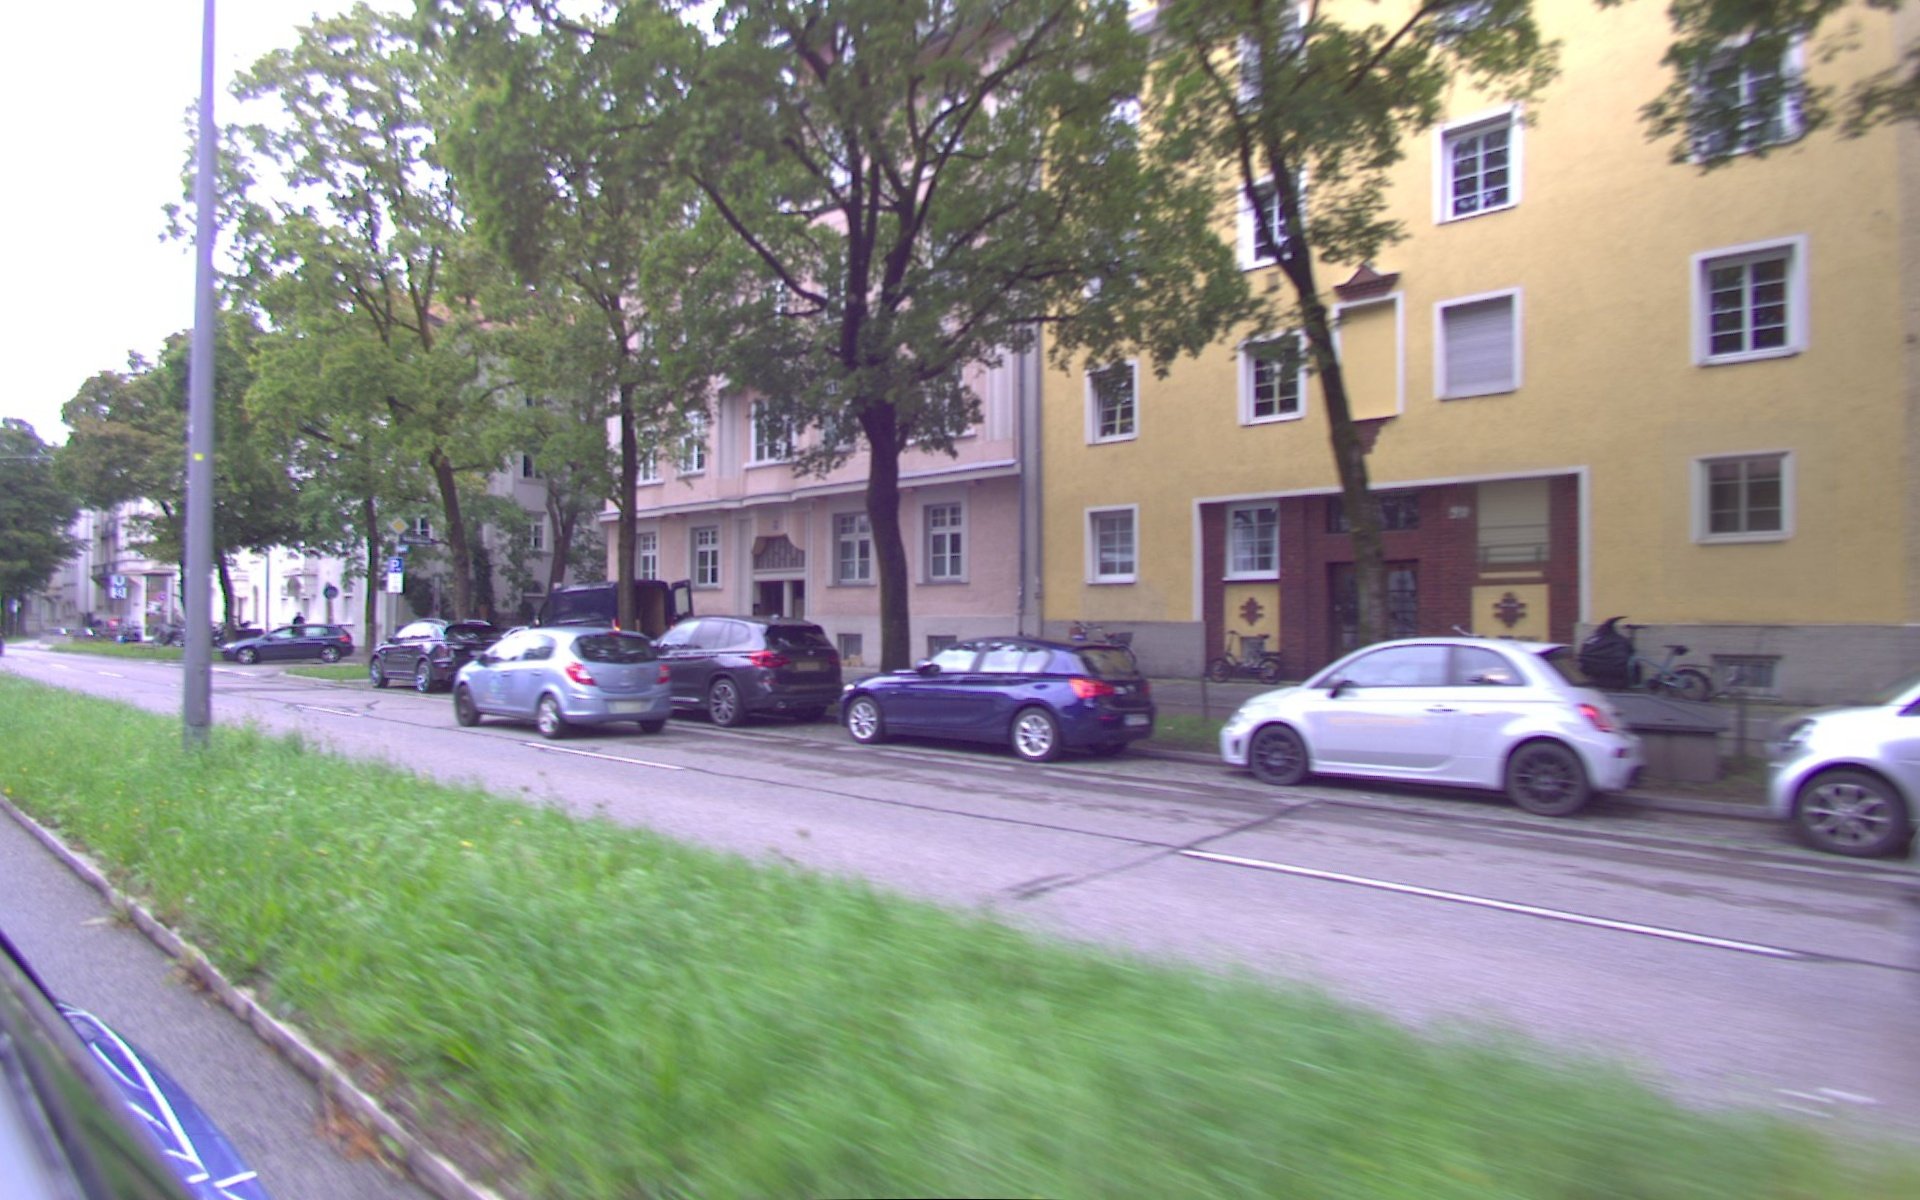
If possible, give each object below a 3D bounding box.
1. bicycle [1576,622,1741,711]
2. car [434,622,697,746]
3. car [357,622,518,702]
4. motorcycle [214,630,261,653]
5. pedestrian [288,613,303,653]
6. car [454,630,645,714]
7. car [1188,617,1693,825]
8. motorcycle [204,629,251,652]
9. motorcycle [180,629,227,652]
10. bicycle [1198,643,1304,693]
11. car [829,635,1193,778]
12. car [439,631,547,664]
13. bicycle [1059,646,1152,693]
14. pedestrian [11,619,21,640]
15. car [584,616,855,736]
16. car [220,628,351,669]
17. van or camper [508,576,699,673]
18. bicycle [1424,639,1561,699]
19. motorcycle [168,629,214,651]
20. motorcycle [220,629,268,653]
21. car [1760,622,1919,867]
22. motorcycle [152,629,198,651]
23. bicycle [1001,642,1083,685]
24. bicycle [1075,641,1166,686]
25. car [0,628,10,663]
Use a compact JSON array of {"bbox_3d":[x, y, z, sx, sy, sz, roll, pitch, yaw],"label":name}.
[{"bbox_3d":[10.313,0.943,14.988,1.929,1.231,0.762,-1,-2,41],"label":"bicycle"},{"bbox_3d":[-5.726,1.114,14.488,4.055,1.518,1.792,-1,-4,41],"label":"car"},{"bbox_3d":[-12.314,1.371,23.752,4.436,1.699,1.854,-1,-2,41],"label":"car"},{"bbox_3d":[-37.386,2.122,52.374,1.926,1.158,0.597,0,-1,-12],"label":"motorcycle"},{"bbox_3d":[-34.154,1.698,52.047,0.590,2.075,0.686,1,-2,-30],"label":"pedestrian"},{"bbox_3d":[-8.239,1.344,20.114,4.490,1.465,1.675,-1,-2,41],"label":"car"},{"bbox_3d":[4.414,0.964,9.665,4.055,1.573,1.709,-1,-2,41],"label":"car"},{"bbox_3d":[-38.651,2.138,53.399,1.926,1.158,0.597,0,-1,-12],"label":"motorcycle"},{"bbox_3d":[-40.466,2.158,54.129,1.926,1.158,0.597,0,-1,-12],"label":"motorcycle"},{"bbox_3d":[5.666,1.307,19.778,1.929,0.906,0.536,-1,-2,41],"label":"bicycle"},{"bbox_3d":[0.486,1.165,12.458,4.360,1.416,1.709,-1,-2,41],"label":"car"},{"bbox_3d":[-20.487,2.055,44.469,1.793,1.332,3.948,-1,-2,39],"label":"car"},{"bbox_3d":[3.008,1.431,21.044,1.929,0.906,0.536,-1,-2,41],"label":"bicycle"},{"bbox_3d":[-93.157,2.866,99.876,0.631,2.058,0.739,1,-2,-38],"label":"pedestrian"},{"bbox_3d":[-4.001,1.110,16.370,4.767,1.658,1.859,-1,-2,41],"label":"car"},{"bbox_3d":[-25.038,1.793,37.729,3.931,1.386,1.867,0,-2,-30],"label":"car"},{"bbox_3d":[-10.780,0.738,30.208,6.847,2.599,2.321,-1,-2,41],"label":"van or camper"},{"bbox_3d":[8.775,1.118,16.726,1.929,0.906,0.536,-1,-2,41],"label":"bicycle"},{"bbox_3d":[-41.719,2.168,54.918,1.926,1.158,0.597,0,-1,-12],"label":"motorcycle"},{"bbox_3d":[-36.331,2.079,51.383,1.926,1.158,0.597,0,-1,-12],"label":"motorcycle"},{"bbox_3d":[7.269,0.934,6.747,3.006,1.569,1.710,-1,-2,39],"label":"car"},{"bbox_3d":[-43.435,2.193,55.991,1.924,1.158,0.598,0,-1,-29],"label":"motorcycle"},{"bbox_3d":[1.829,1.399,22.712,1.929,0.906,0.479,-1,-2,41],"label":"bicycle"},{"bbox_3d":[3.392,1.330,21.502,1.929,0.906,0.536,-1,-2,41],"label":"bicycle"},{"bbox_3d":[-43.496,1.961,44.660,4.321,1.518,1.792,-1,-4,41],"label":"car"}]
